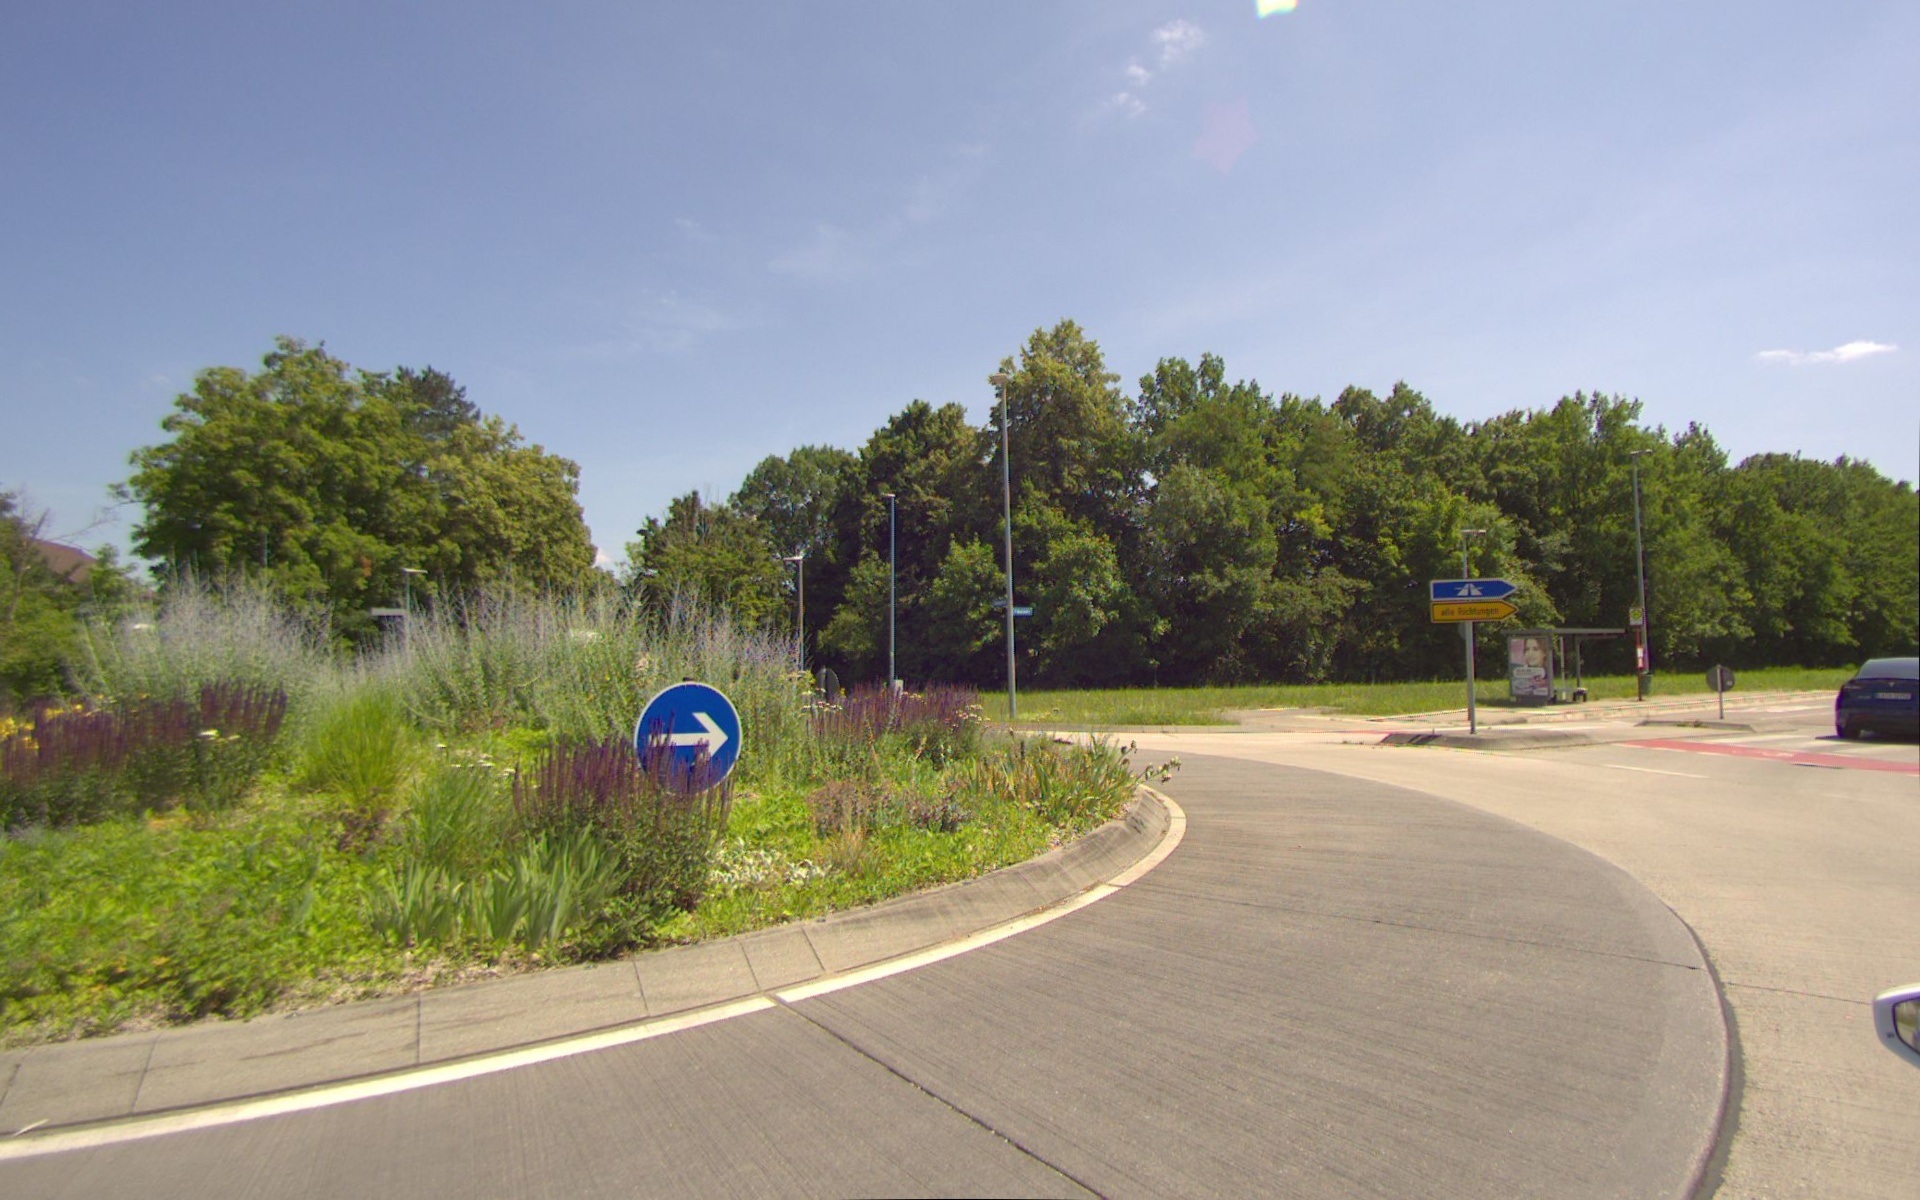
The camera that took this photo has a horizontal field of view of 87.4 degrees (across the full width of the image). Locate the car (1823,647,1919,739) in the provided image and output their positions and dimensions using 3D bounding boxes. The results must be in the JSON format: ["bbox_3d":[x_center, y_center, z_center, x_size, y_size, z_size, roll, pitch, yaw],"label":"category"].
[{"bbox_3d":[19.109,1.792,20.228,4.721,1.661,1.976,2,-4,-42],"label":"car"}]
